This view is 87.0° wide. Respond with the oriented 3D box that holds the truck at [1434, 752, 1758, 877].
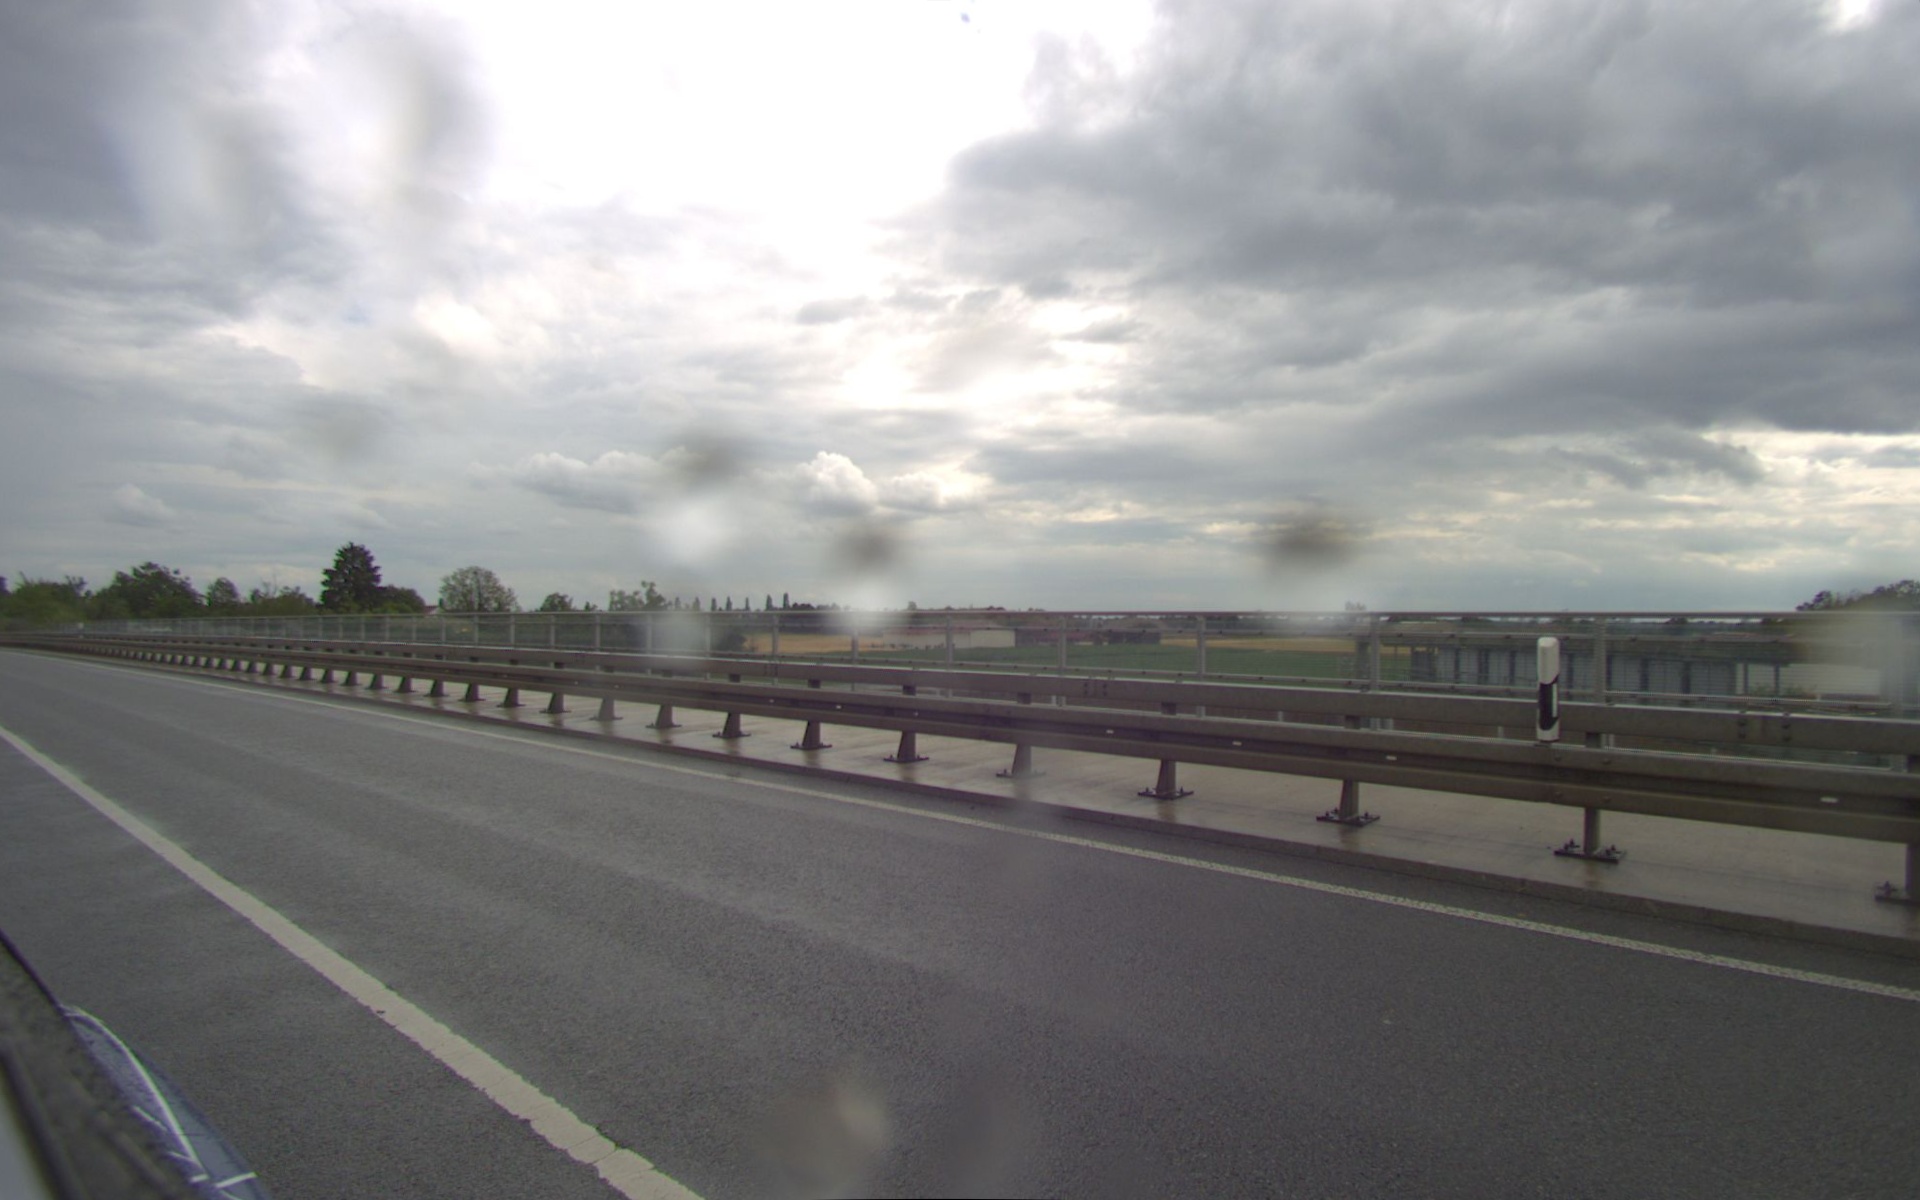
[{"bbox_3d":[24.349,8.166,39.012,11.006,4.031,2.438,-1,0,-2],"label":"truck"}]
